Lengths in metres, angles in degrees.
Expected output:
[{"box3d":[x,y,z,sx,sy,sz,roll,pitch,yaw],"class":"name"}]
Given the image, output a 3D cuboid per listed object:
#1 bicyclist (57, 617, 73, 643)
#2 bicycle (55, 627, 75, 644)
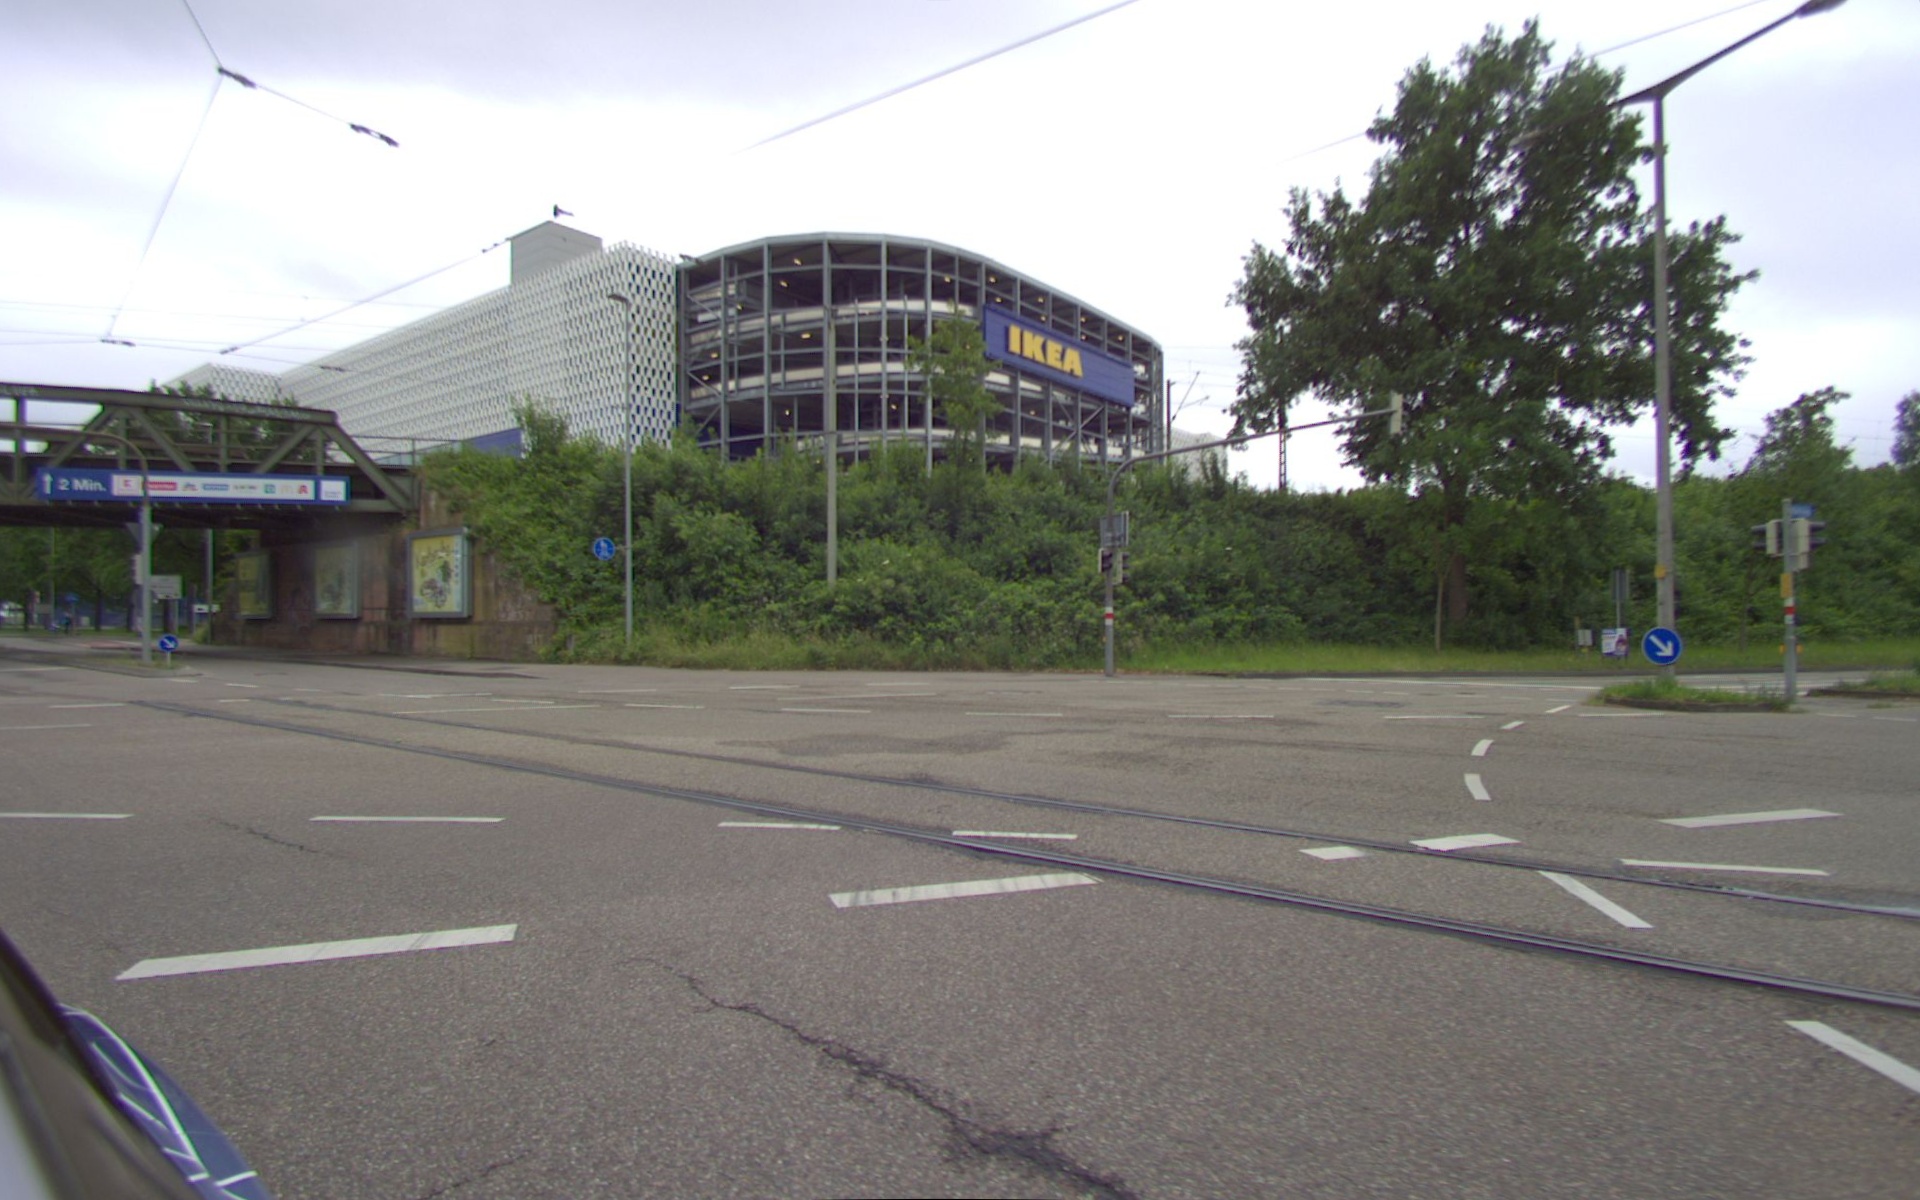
[{"box3d":[-66.654,2.243,75.360,1.018,1.888,0.695,-1,1,38],"class":"bicyclist"},{"box3d":[-66.645,2.621,75.356,2.367,1.196,0.706,0,1,38],"class":"bicycle"}]
